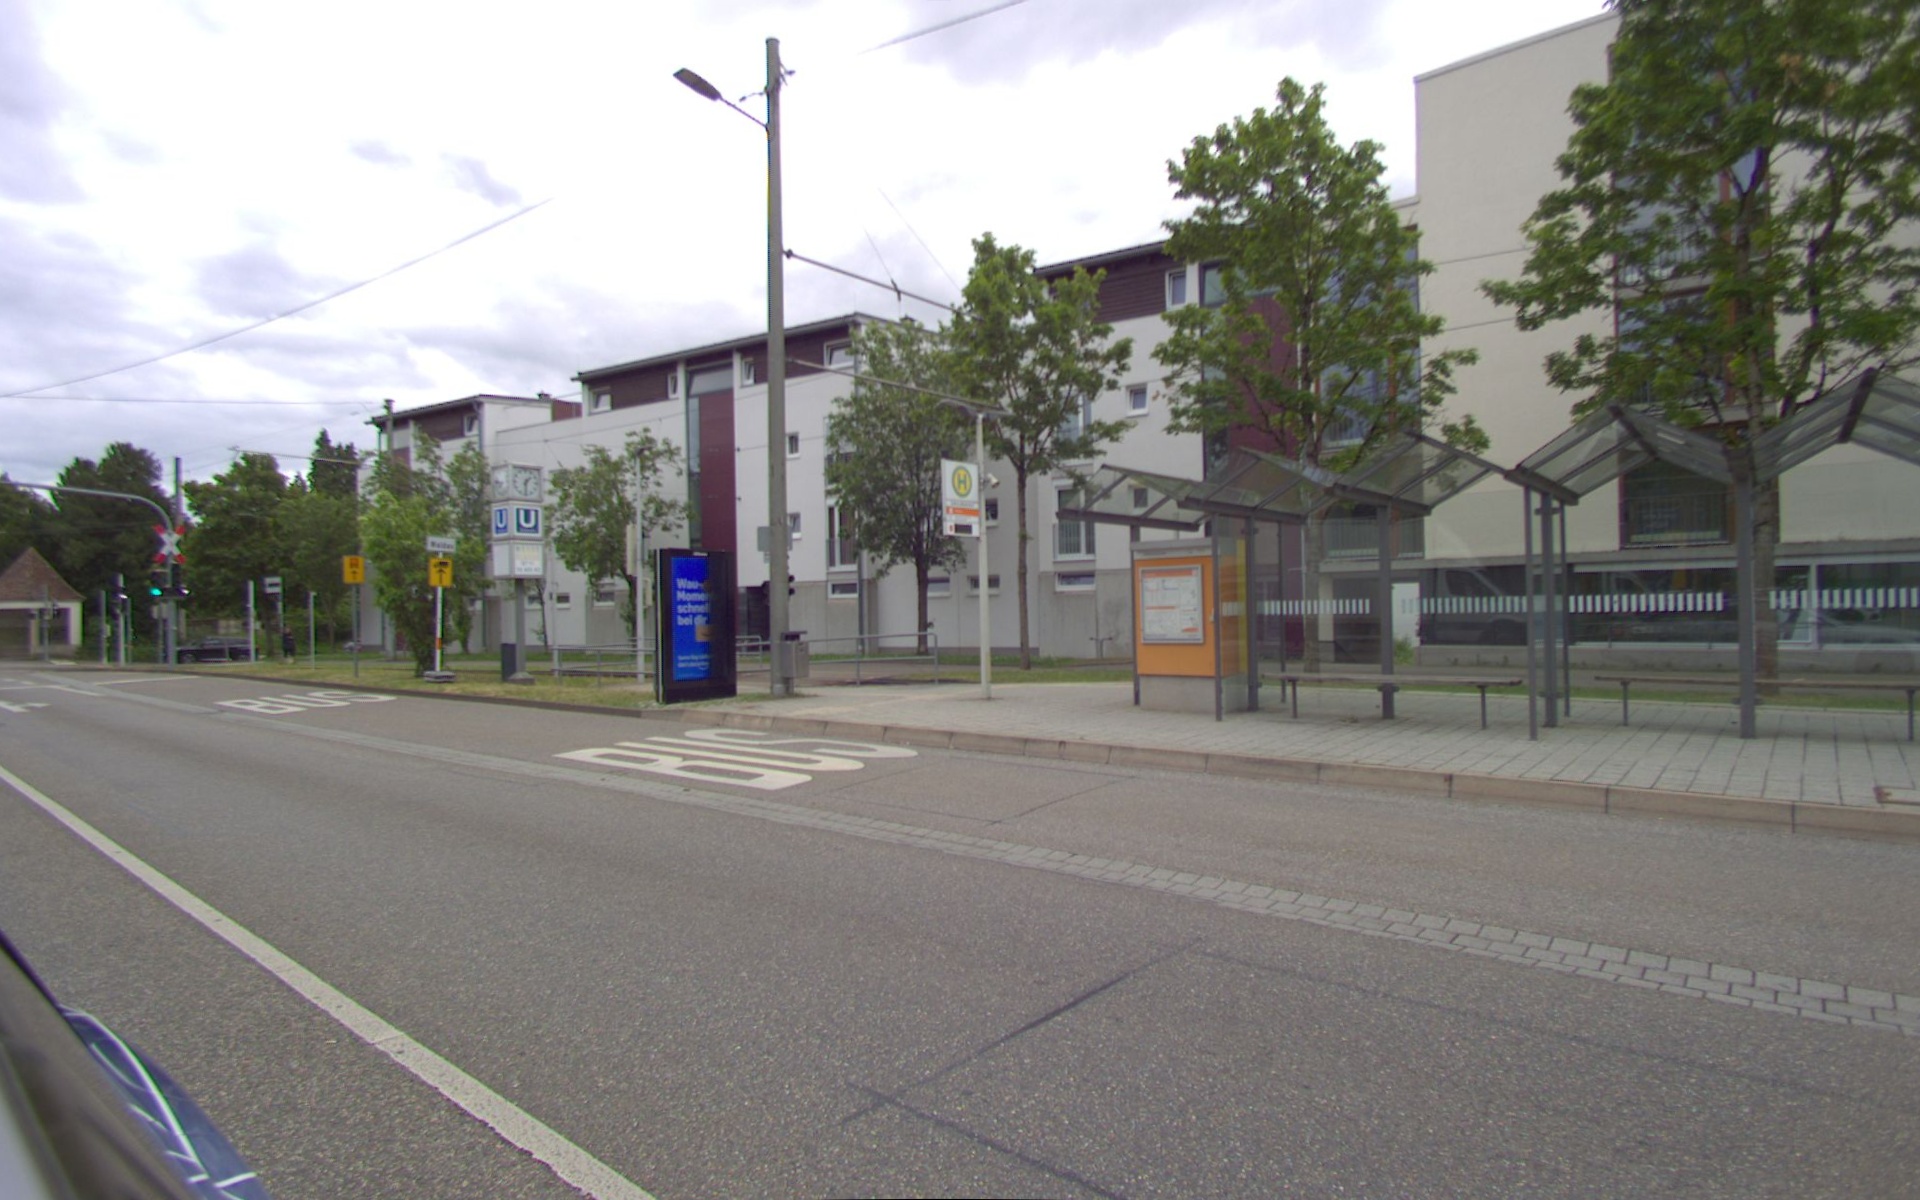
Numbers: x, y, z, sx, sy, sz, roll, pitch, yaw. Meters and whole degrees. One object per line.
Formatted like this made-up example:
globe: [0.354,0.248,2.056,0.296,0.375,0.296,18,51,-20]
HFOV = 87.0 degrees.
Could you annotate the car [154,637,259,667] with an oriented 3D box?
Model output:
car: [-43.601,3.037,58.684,1.960,1.682,4.438,-1,-4,32]

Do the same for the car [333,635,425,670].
car: [-35.382,3.236,61.748,1.994,2.029,4.419,-2,-5,33]

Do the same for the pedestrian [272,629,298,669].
pedestrian: [-28.564,2.060,42.846,0.817,1.657,0.669,-4,-4,34]
